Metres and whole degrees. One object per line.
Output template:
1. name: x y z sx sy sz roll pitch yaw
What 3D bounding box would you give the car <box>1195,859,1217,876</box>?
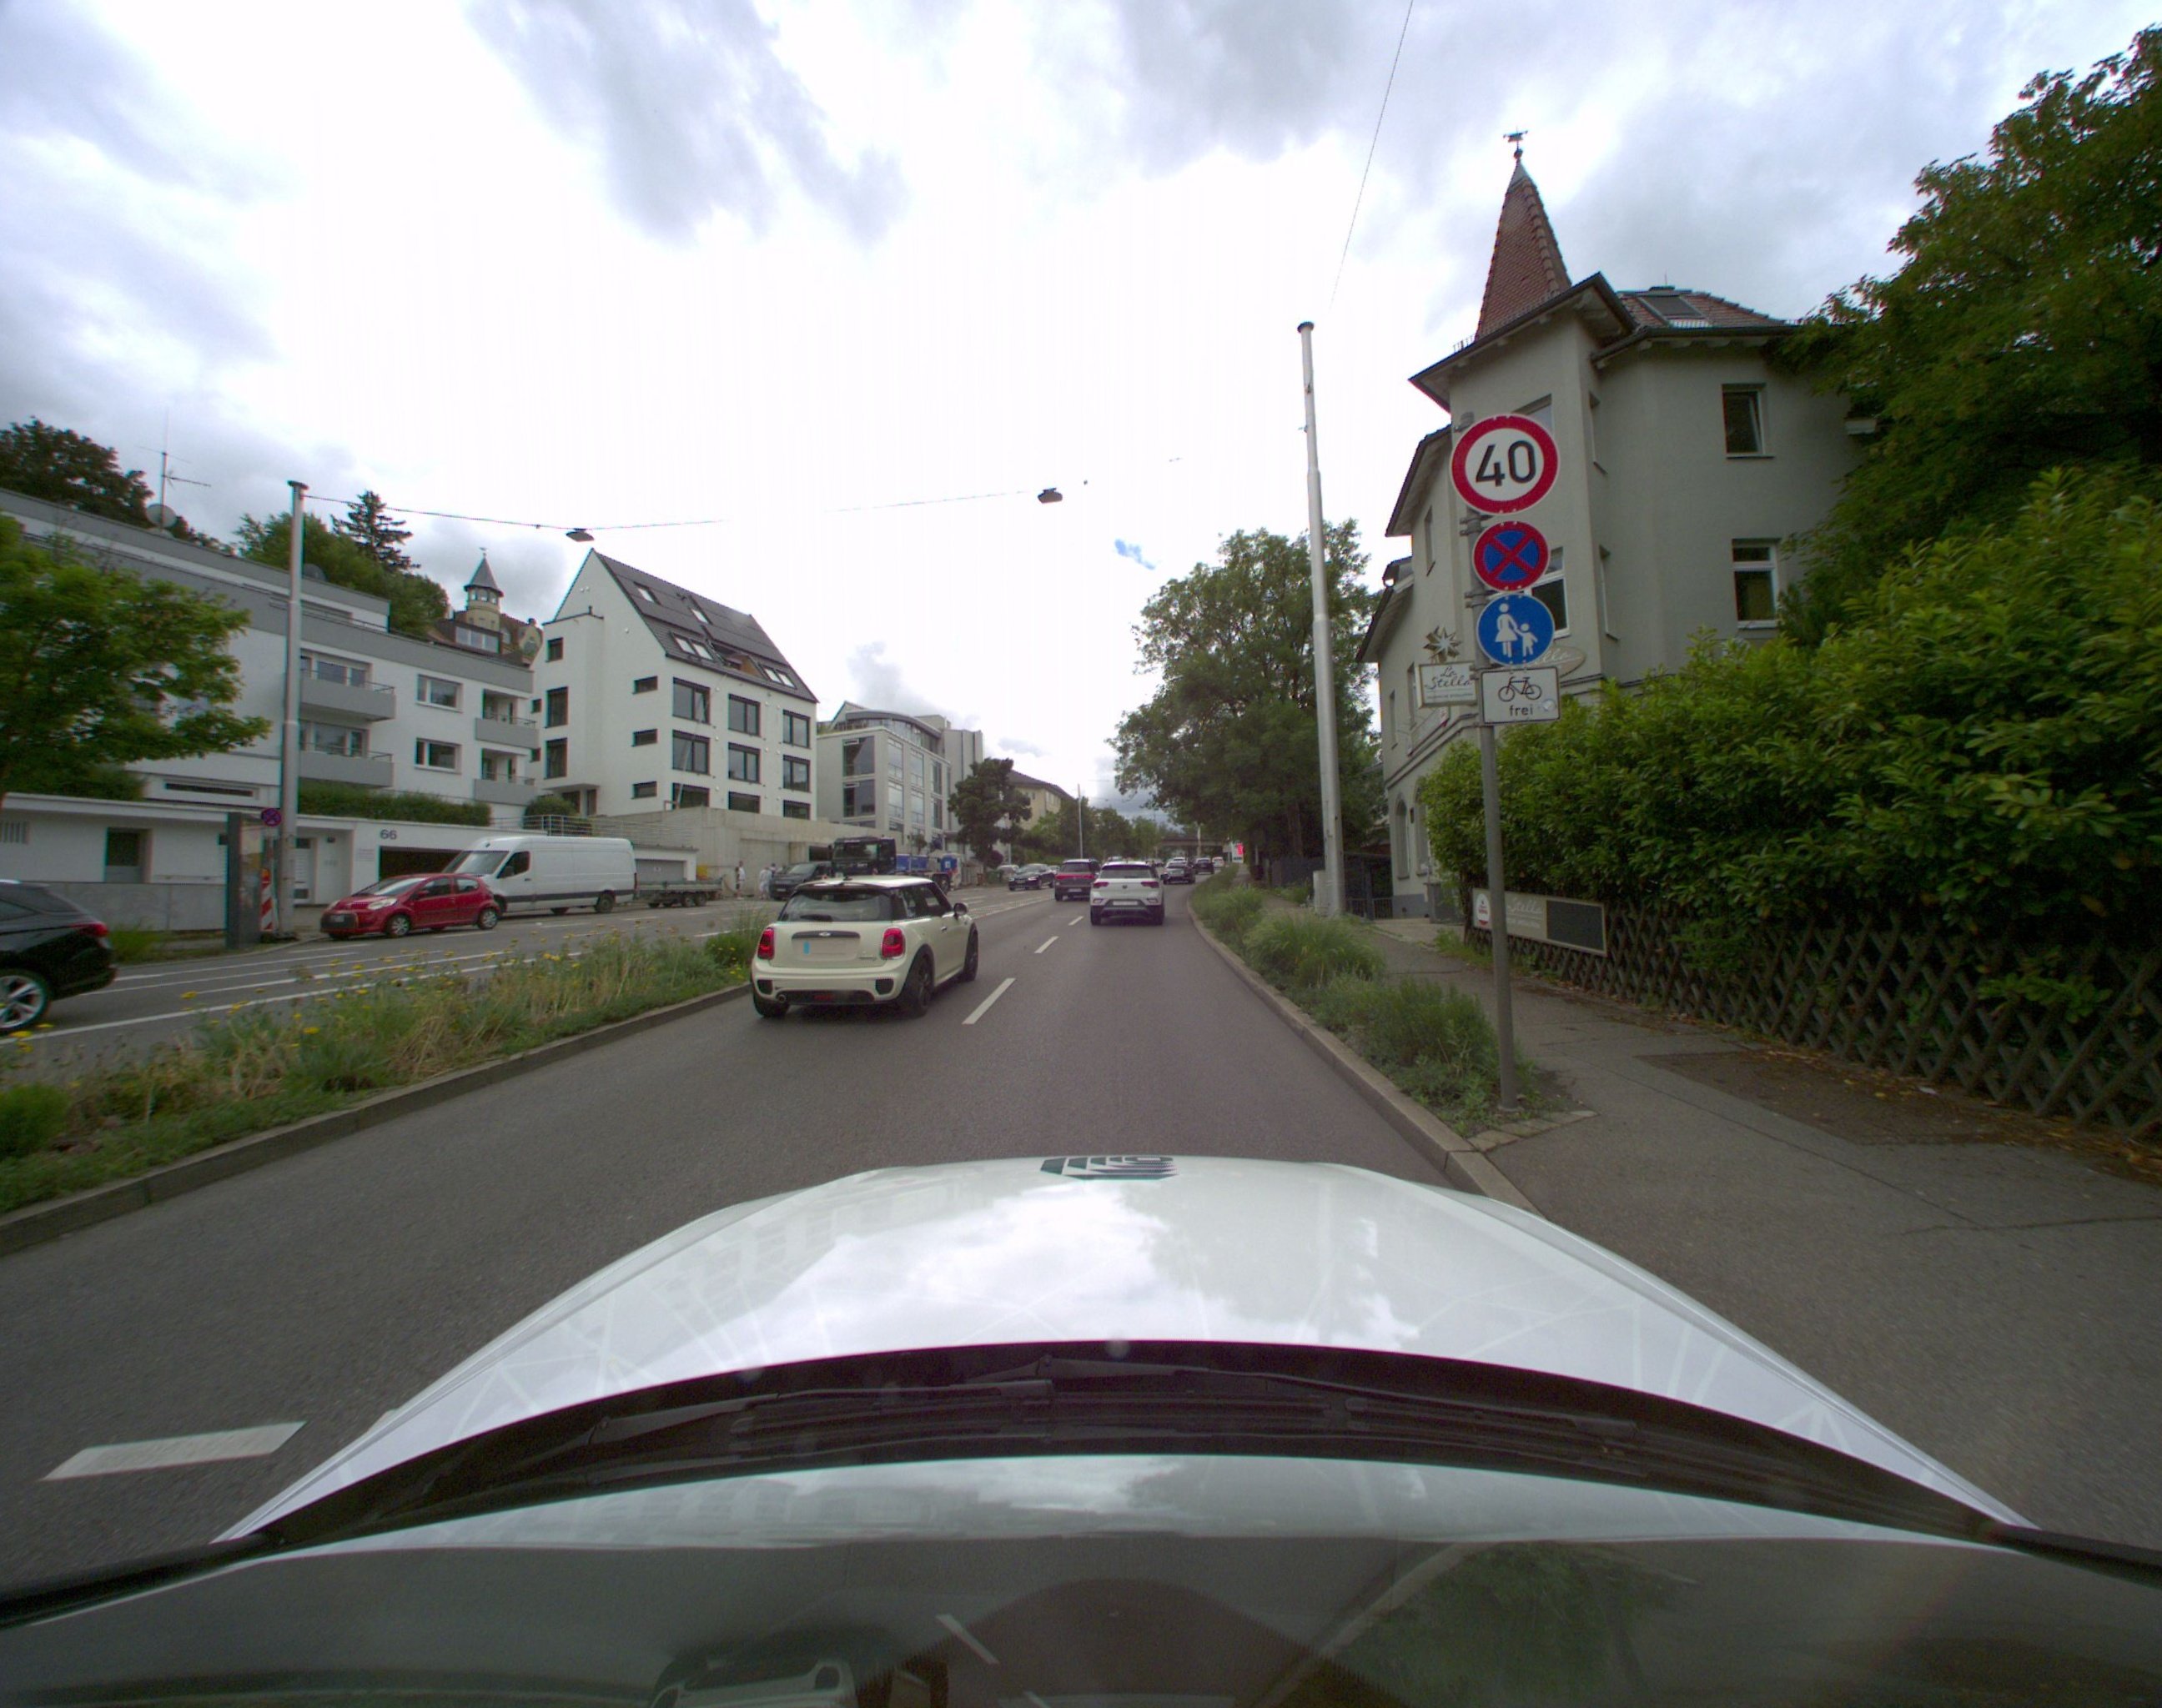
1. car: 11.775 1.249 76.589 1.861 1.501 4.568 1 -1 11

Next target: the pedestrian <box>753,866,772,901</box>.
1. pedestrian: -15.146 1.398 38.725 0.679 1.640 0.664 1 -1 -39

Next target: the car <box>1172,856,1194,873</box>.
1. car: 10.724 1.113 85.267 1.846 1.652 4.651 -2 -1 11

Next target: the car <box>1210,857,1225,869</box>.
1. car: 17.386 1.121 103.783 1.847 1.500 4.066 -2 -1 9

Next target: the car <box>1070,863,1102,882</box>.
1. car: 0.406 1.410 64.233 1.832 1.393 4.295 -2 -1 9

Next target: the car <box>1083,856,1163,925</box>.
1. car: 1.117 0.875 21.018 1.803 1.539 3.693 -2 -1 4

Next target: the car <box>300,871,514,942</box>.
1. car: -16.016 1.186 19.645 1.613 1.465 3.933 -2 -1 6

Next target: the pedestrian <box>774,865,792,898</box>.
1. pedestrian: -14.985 1.363 40.936 0.679 1.640 0.664 1 -1 -39

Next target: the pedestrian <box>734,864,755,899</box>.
1. pedestrian: -15.966 1.313 38.659 0.620 1.640 0.676 0 -1 22

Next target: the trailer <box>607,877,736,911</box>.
1. trailer: -16.296 1.570 32.732 2.232 1.112 4.635 -2 -1 10

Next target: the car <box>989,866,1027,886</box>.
1. car: -5.940 1.762 66.878 1.758 1.499 4.321 -2 -1 14

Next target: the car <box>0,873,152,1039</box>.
1. car: -10.791 0.925 6.316 1.683 1.501 4.561 0 -1 5

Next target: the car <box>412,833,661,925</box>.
1. car: -17.391 0.742 26.804 2.217 2.568 7.442 -2 -1 10

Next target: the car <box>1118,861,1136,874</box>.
1. car: 6.403 1.876 112.841 2.057 1.656 4.704 -2 -1 8

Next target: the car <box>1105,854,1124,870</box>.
1. car: 5.228 1.245 126.128 2.055 2.306 5.481 -2 -1 11

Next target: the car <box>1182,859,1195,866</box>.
1. car: 23.248 1.849 175.945 1.856 1.500 4.046 -2 -1 -7

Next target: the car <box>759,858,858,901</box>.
1. car: -13.291 1.201 40.121 1.968 1.967 5.239 -2 -1 15

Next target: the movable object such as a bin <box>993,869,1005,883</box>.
1. movable object such as a bin: -5.938 1.608 59.118 0.640 0.990 0.663 -1 -1 20

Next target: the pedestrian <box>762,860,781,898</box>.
1. pedestrian: -15.145 1.216 39.844 0.679 1.840 0.664 1 -1 -39

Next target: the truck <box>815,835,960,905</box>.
1. truck: -8.914 0.722 39.056 2.940 2.971 9.011 -1 -1 14

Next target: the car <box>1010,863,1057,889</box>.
1. car: -2.842 1.300 49.474 1.684 1.496 4.501 -1 -1 12

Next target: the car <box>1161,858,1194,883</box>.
1. car: 6.124 1.044 51.255 1.862 1.501 4.565 1 -1 8

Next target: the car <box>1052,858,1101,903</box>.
1. car: -0.148 1.036 33.540 1.807 1.652 4.636 -2 -1 0

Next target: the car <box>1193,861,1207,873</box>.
1. car: 17.196 1.855 117.703 1.846 1.500 4.067 -2 -1 10

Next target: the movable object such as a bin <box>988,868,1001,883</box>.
1. movable object such as a bin: -6.199 1.537 58.495 0.640 1.015 0.663 -1 -1 20

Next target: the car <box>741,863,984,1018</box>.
1. car: -2.289 0.843 9.489 1.621 1.393 3.569 -2 -1 4
